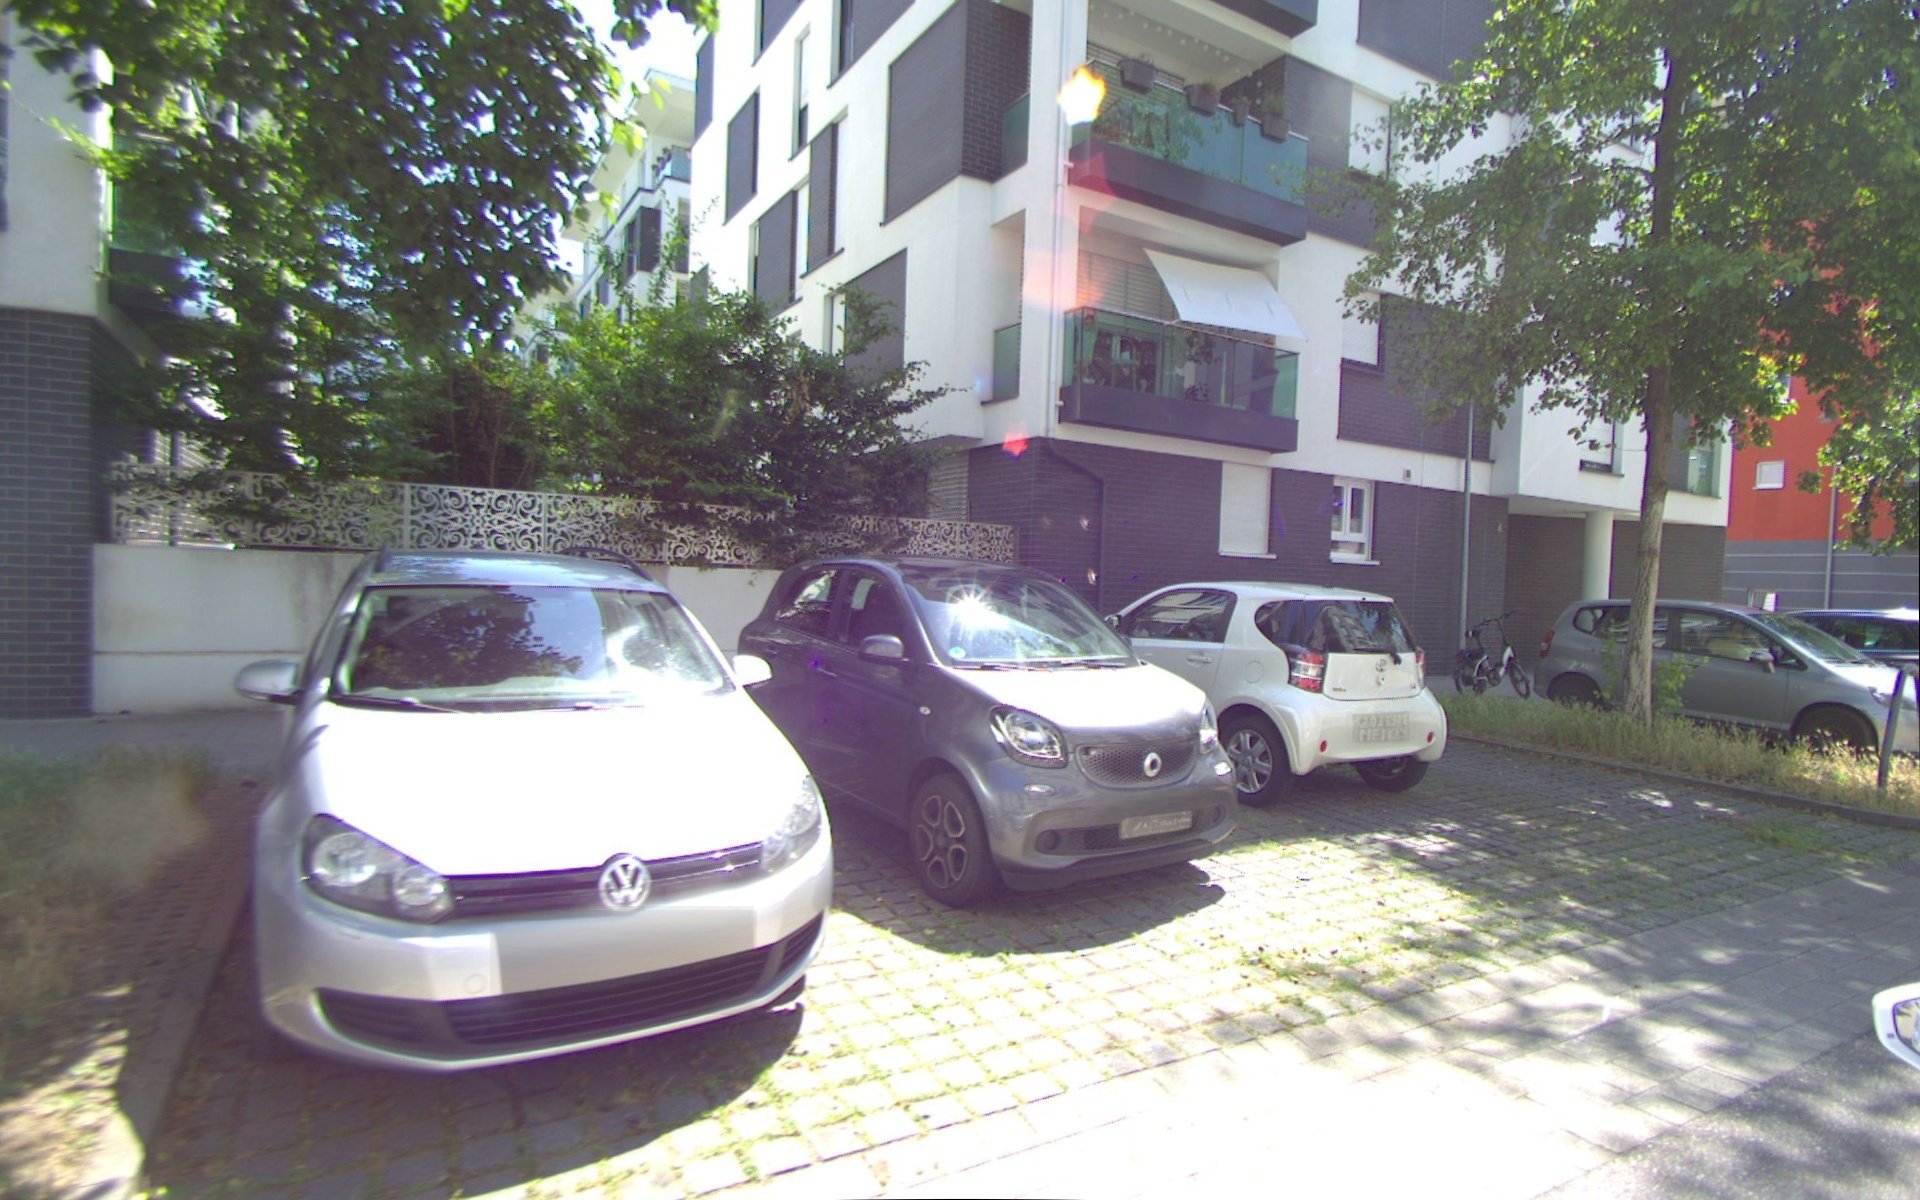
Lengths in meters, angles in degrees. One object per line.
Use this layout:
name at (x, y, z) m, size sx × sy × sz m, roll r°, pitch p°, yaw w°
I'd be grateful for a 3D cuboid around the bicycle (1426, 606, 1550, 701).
bicycle at (7.147, 0.708, 13.578) m, size 1.752 × 1.206 × 0.564 m, roll 1°, pitch 1°, yaw -28°

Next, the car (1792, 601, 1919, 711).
car at (15.161, 0.915, 15.108) m, size 1.810 × 1.541 × 3.612 m, roll 1°, pitch 3°, yaw -30°

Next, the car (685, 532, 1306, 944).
car at (-0.099, 0.471, 6.012) m, size 1.803 × 1.607 × 3.682 m, roll 1°, pitch 3°, yaw -35°

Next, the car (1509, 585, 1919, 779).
car at (8.558, 0.740, 11.102) m, size 1.851 × 1.574 × 3.917 m, roll 1°, pitch 3°, yaw -31°

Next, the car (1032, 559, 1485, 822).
car at (2.191, 0.536, 7.986) m, size 1.828 × 1.520 × 2.916 m, roll 1°, pitch 4°, yaw -31°

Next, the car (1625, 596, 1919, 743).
car at (11.052, 0.841, 12.504) m, size 1.939 × 1.506 × 4.154 m, roll 3°, pitch 2°, yaw -34°

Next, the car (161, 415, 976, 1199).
car at (-1.946, 0.500, 4.429) m, size 1.978 × 1.733 × 4.336 m, roll 1°, pitch 0°, yaw -32°

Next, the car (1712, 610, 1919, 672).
car at (24.879, 1.112, 29.126) m, size 1.916 × 1.402 × 4.545 m, roll -1°, pitch 2°, yaw -32°

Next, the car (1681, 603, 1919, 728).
car at (12.999, 0.898, 14.364) m, size 1.778 × 1.575 × 3.970 m, roll 1°, pitch 1°, yaw -28°

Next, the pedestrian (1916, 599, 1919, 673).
pedestrian at (23.033, 0.862, 23.307) m, size 0.822 × 1.713 × 0.995 m, roll 1°, pitch 1°, yaw -30°

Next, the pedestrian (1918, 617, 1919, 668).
pedestrian at (25.896, 0.775, 26.172) m, size 1.115 × 2.041 × 1.005 m, roll 1°, pitch 1°, yaw -28°
